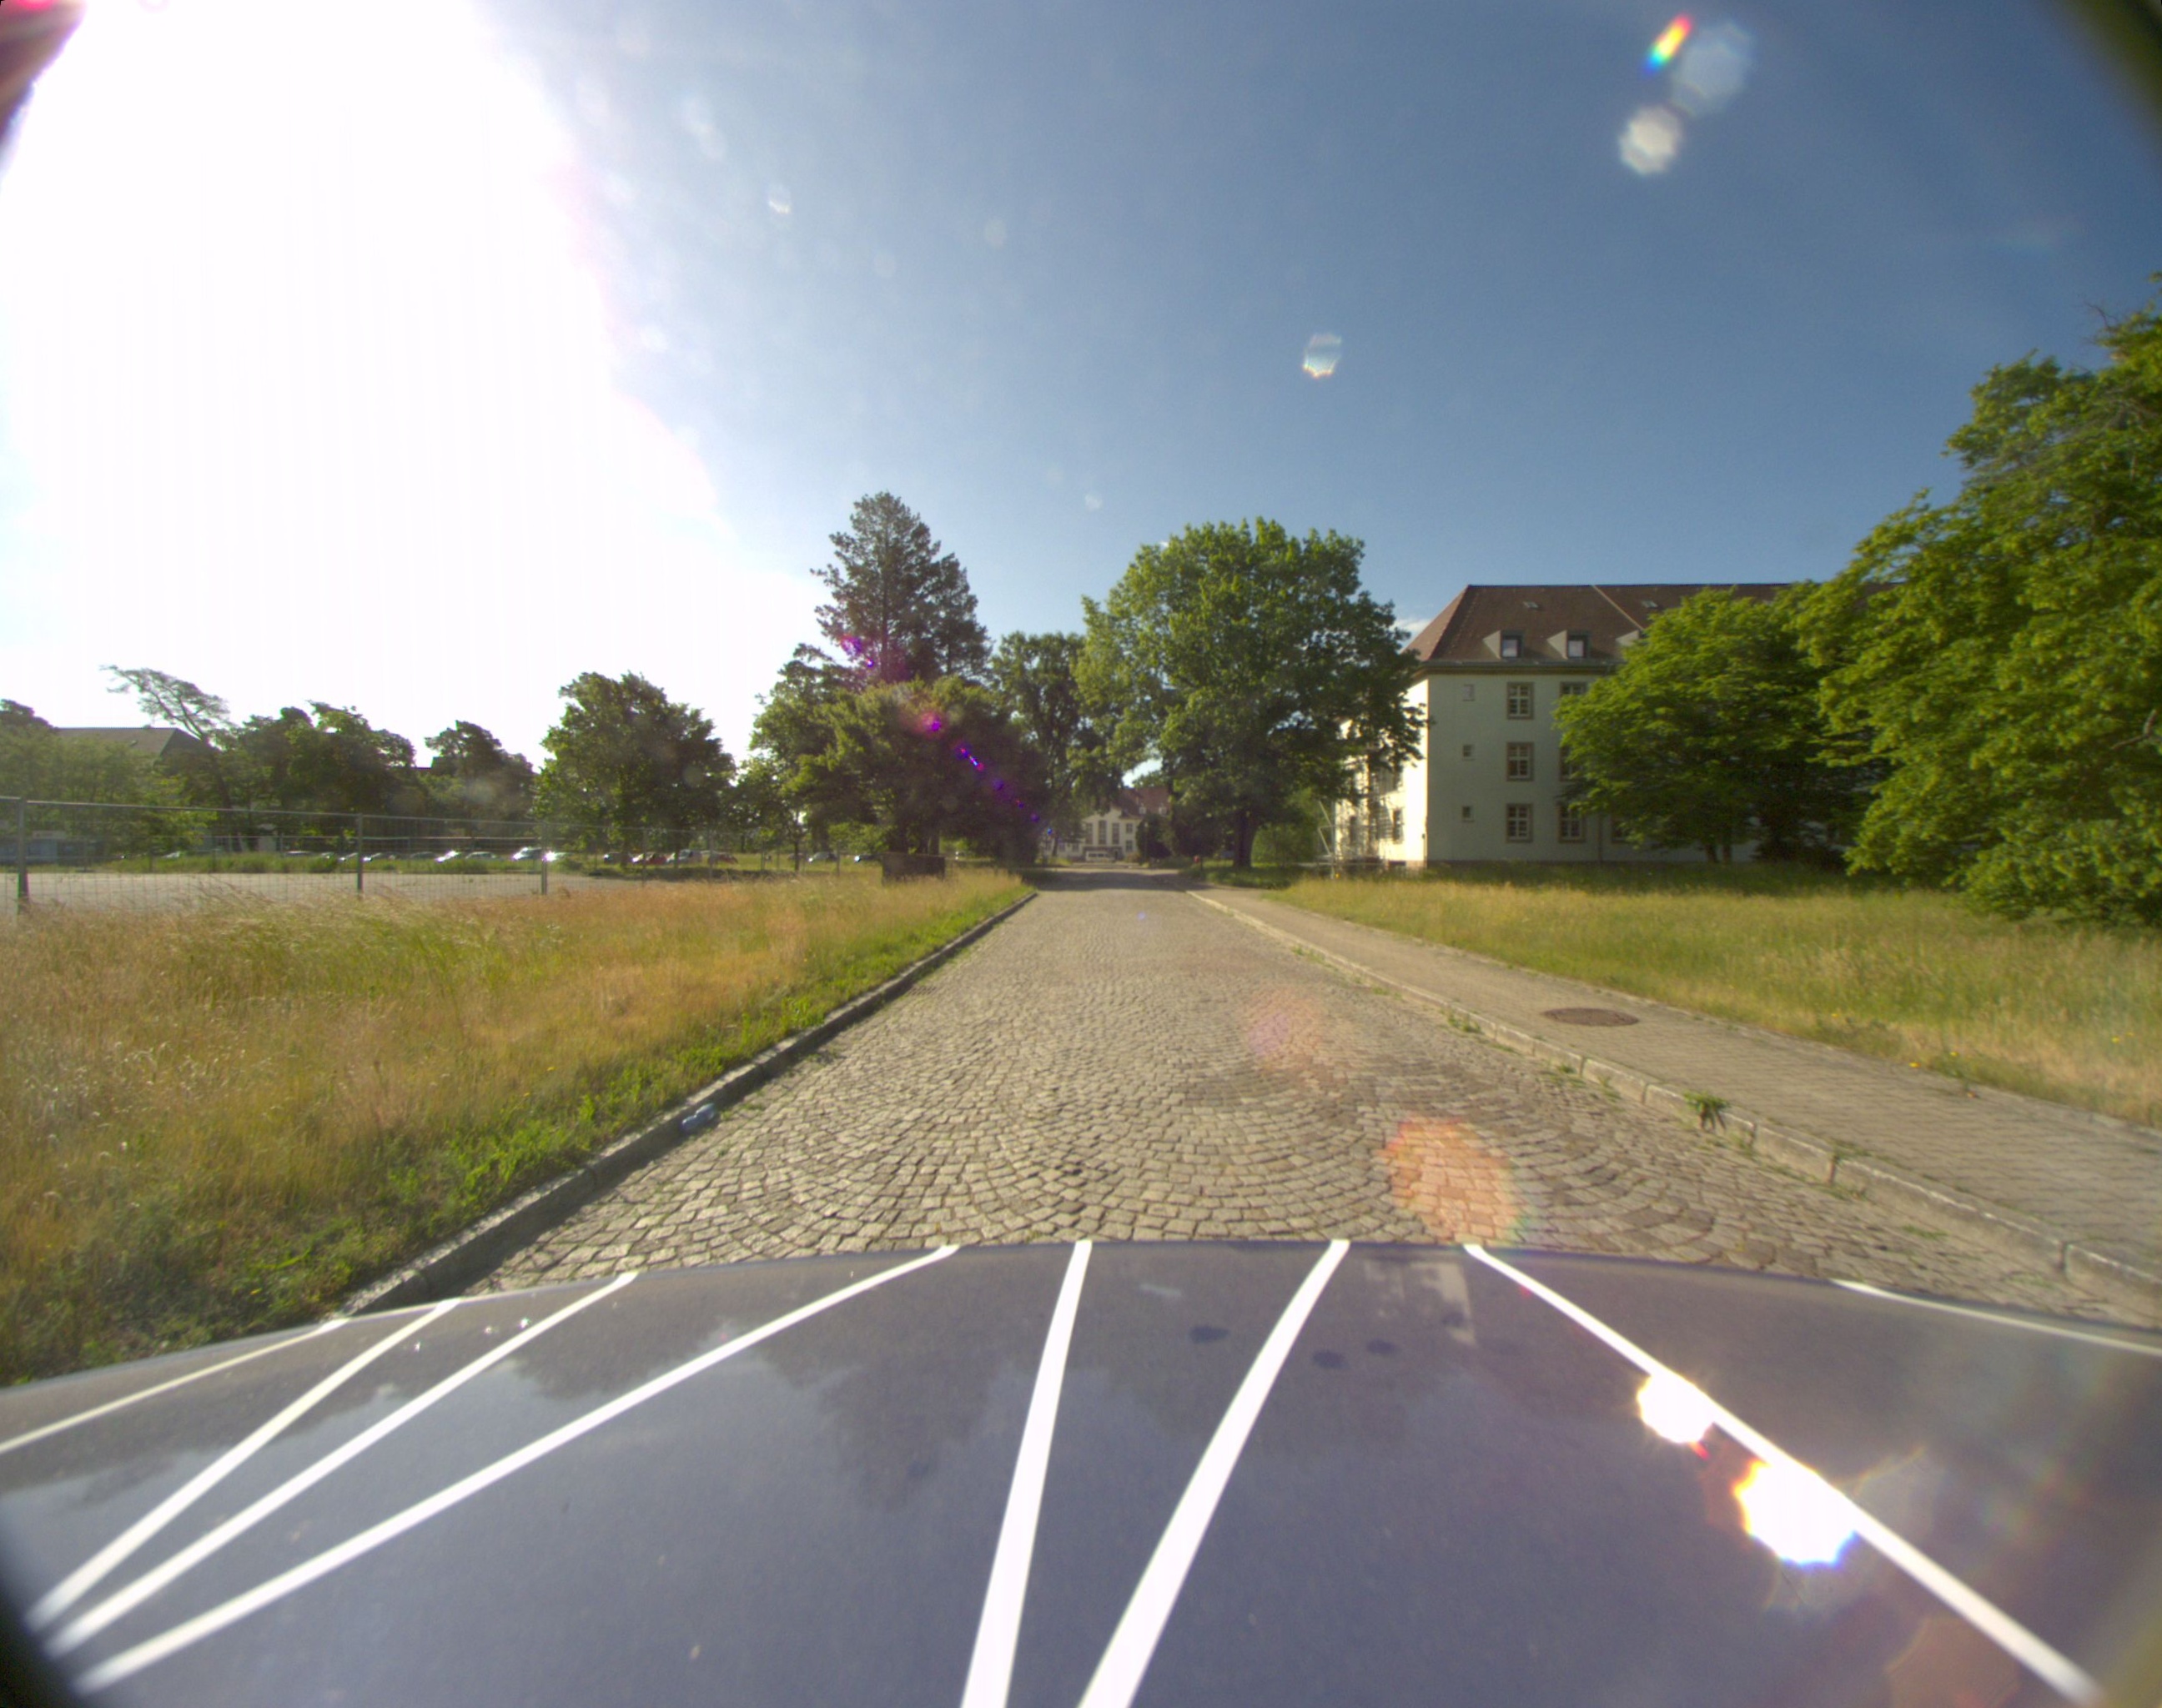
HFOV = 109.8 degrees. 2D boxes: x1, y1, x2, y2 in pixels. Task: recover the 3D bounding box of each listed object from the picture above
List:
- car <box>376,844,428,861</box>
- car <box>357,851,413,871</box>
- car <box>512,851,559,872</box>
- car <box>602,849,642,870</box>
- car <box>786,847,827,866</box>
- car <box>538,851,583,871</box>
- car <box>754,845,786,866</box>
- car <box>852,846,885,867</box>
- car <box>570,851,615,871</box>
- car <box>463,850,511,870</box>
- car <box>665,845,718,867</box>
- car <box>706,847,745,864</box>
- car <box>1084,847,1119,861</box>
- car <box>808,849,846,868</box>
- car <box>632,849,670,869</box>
[{"bbox_3d":[-68.652,-0.188,76.904,1.741,1.649,3.852,0,0,3],"label":"car"},{"bbox_3d":[-71.117,0.654,77.676,1.998,2.002,4.000,0,0,1],"label":"car"},{"bbox_3d":[-54.789,0.746,76.395,1.741,2.002,3.852,0,1,3],"label":"car"},{"bbox_3d":[-46.123,0.532,76.381,1.741,2.002,3.619,0,1,1],"label":"car"},{"bbox_3d":[-27.718,0.236,76.956,2.245,1.828,4.351,0,0,5],"label":"car"},{"bbox_3d":[-52.330,0.684,76.468,1.741,2.002,3.851,0,1,1],"label":"car"},{"bbox_3d":[-31.625,0.149,77.325,1.741,2.002,3.619,0,1,1],"label":"car"},{"bbox_3d":[-21.109,0.205,75.725,2.246,2.002,4.348,0,0,-2],"label":"car"},{"bbox_3d":[-50.013,0.687,77.825,1.999,2.002,3.999,0,0,0],"label":"car"},{"bbox_3d":[-60.092,0.565,76.952,1.741,2.002,3.852,0,1,3],"label":"car"},{"bbox_3d":[-39.525,0.177,77.313,1.998,2.002,6.033,-1,2,2],"label":"car"},{"bbox_3d":[-35.763,0.177,76.528,1.998,1.642,4.000,0,0,1],"label":"car"},{"bbox_3d":[3.785,-0.037,138.894,6.444,2.452,2.463,0,1,2],"label":"car"},{"bbox_3d":[-25.377,0.385,76.085,2.245,1.828,4.349,0,0,2],"label":"car"},{"bbox_3d":[-43.311,0.455,76.644,1.741,2.002,3.619,0,1,1],"label":"car"}]
